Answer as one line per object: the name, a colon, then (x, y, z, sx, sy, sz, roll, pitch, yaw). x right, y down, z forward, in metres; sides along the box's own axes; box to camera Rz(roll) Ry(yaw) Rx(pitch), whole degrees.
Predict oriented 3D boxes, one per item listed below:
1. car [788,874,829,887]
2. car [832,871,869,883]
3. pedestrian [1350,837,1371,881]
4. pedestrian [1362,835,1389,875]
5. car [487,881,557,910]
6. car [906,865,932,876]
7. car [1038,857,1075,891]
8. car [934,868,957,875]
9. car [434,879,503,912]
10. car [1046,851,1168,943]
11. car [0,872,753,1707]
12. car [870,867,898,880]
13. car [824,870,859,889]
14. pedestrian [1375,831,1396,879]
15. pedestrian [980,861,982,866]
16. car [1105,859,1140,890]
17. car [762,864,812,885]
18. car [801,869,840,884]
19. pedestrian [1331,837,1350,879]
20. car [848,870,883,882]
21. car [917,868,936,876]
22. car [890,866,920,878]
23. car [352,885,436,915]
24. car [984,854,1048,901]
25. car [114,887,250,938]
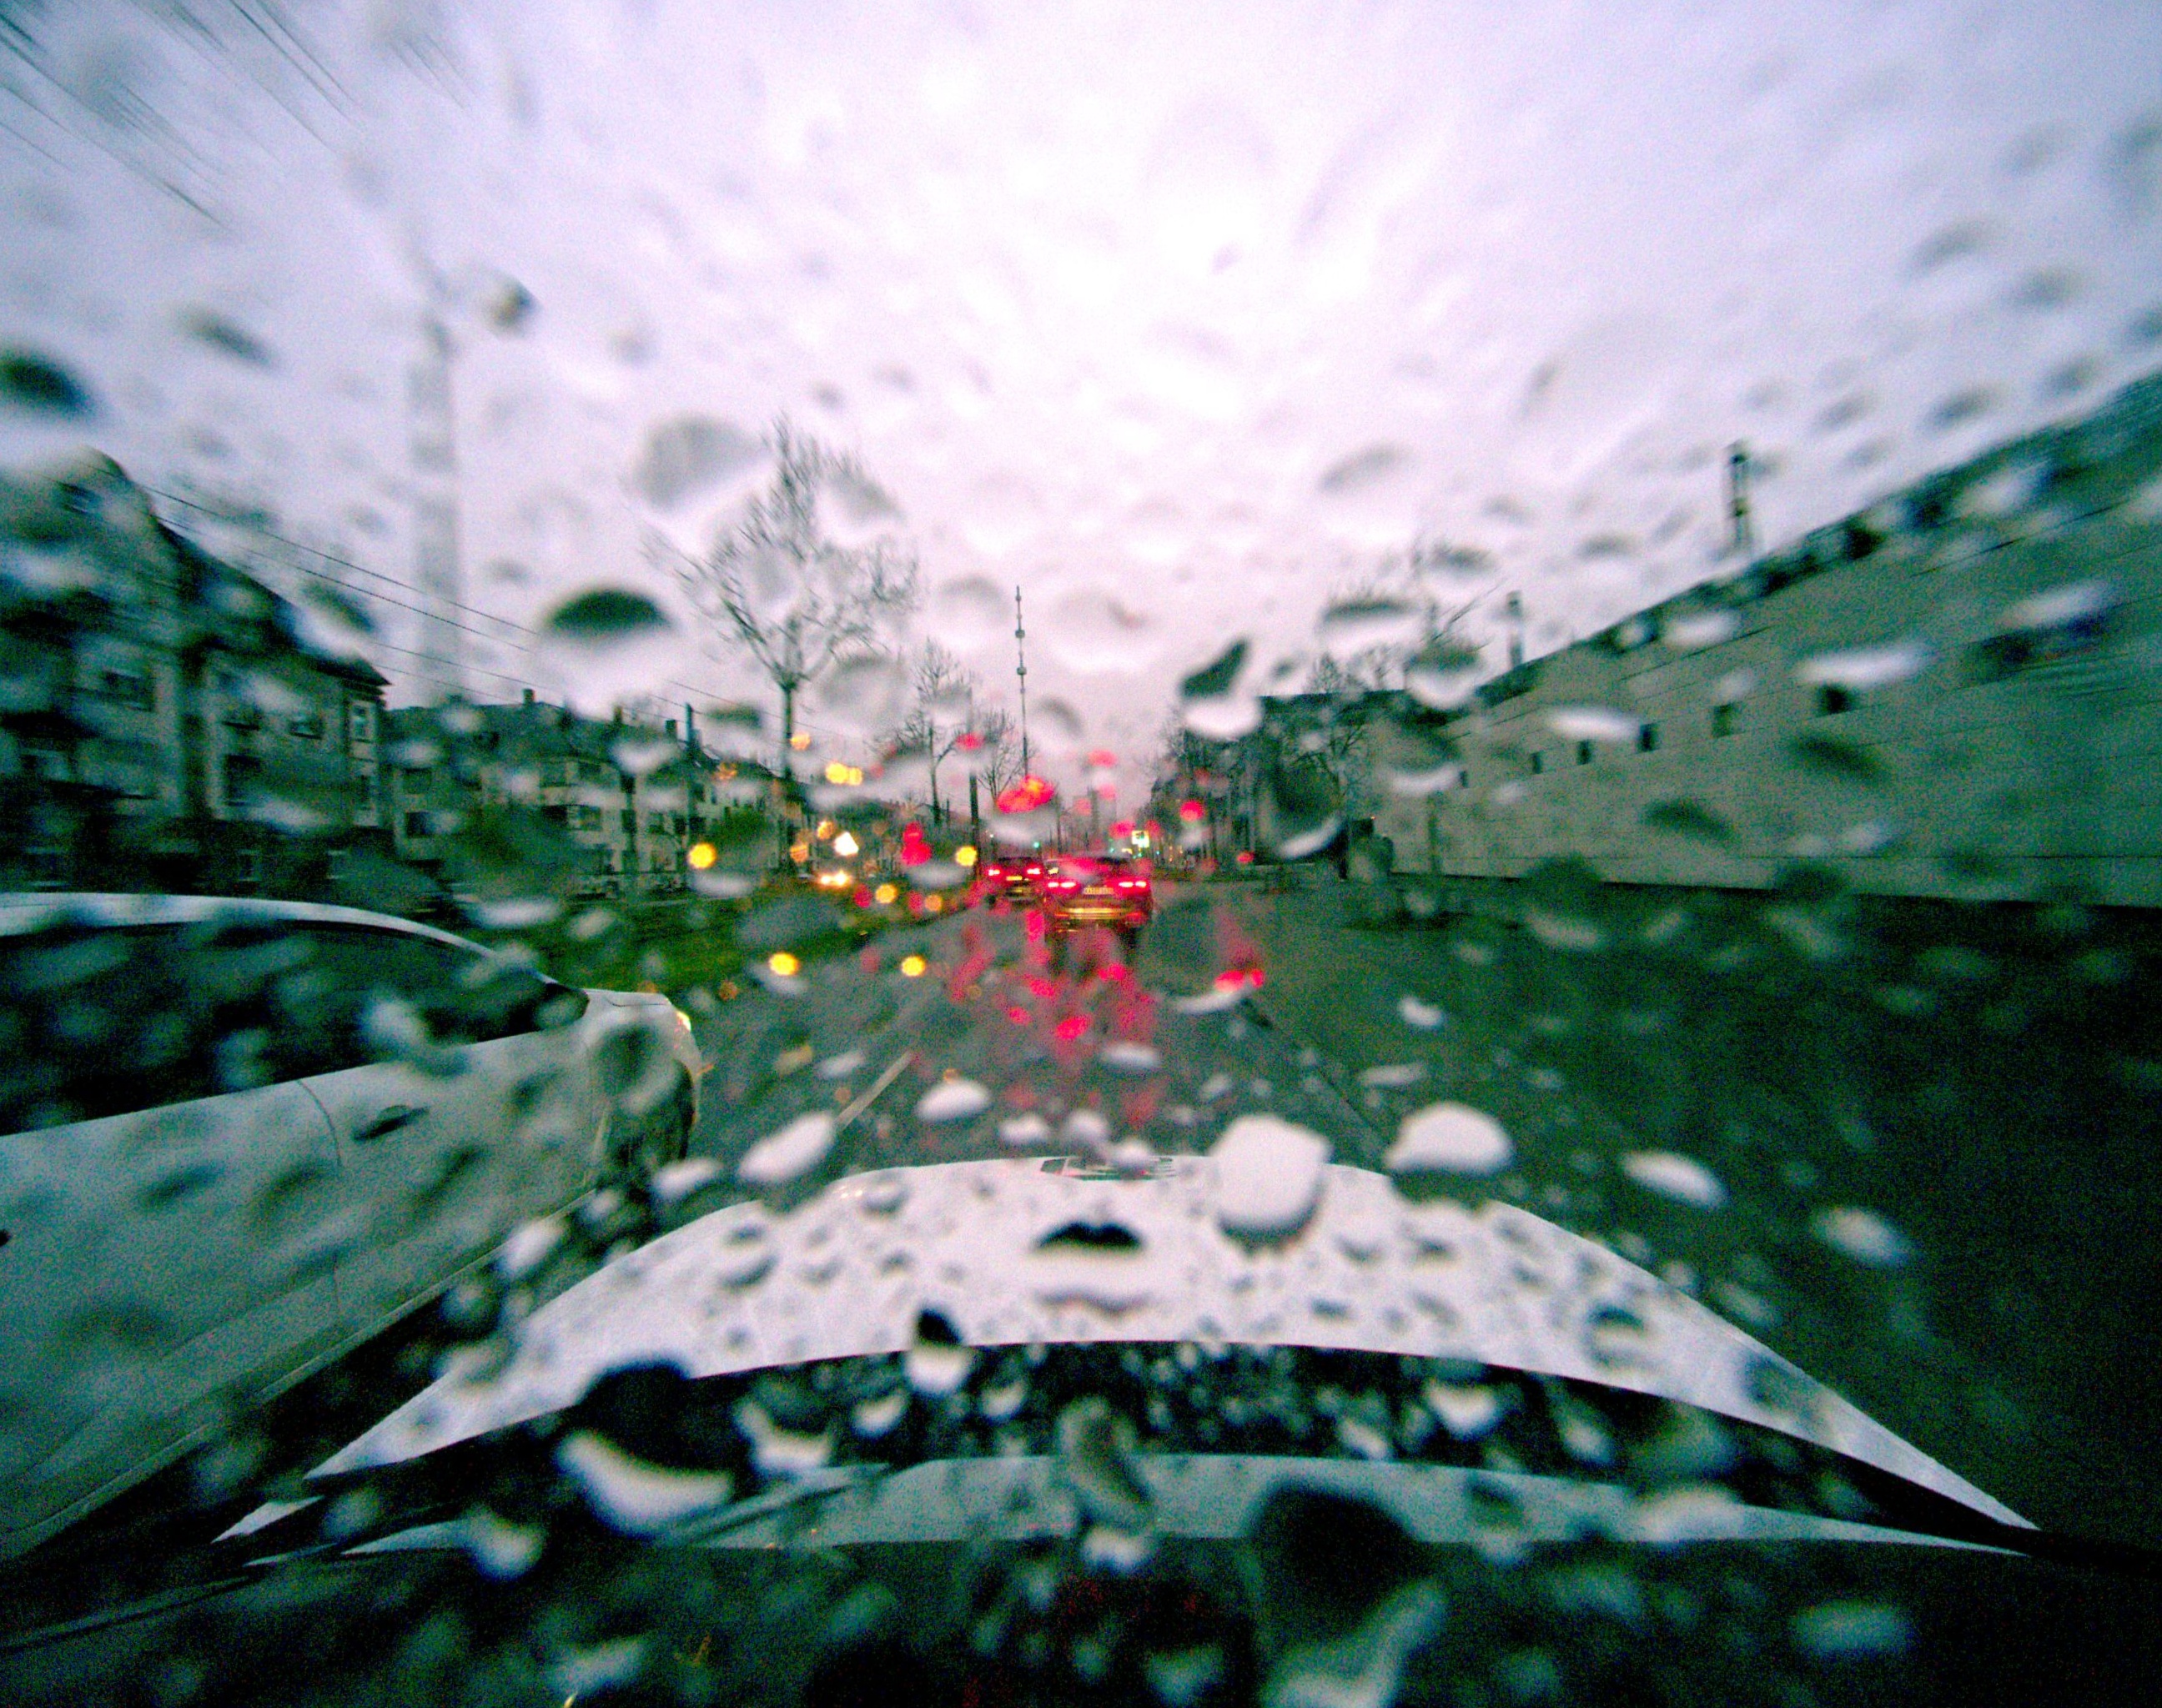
car: (-24.836, 2.373, 74.204, 3.525, 1.141, 1.748, -1, 0, 34)
car: (-24.379, 2.422, 85.961, 3.772, 1.172, 1.749, -1, 0, 34)
pedestrian: (10.468, 0.198, 30.517, 0.667, 1.612, 0.617, -1, -1, 16)
pedestrian: (12.508, 0.046, 34.646, 0.665, 1.655, 0.993, -3, -1, -3)
car: (-26.589, 1.927, 38.693, 4.053, 1.161, 1.722, 1, -1, 41)
car: (-22.975, 2.372, 115.652, 3.801, 1.588, 1.752, -1, -1, 43)
car: (-1.208, 1.015, 42.064, 1.683, 1.635, 3.475, -1, -1, 2)
car: (-23.029, 3.012, 138.049, 3.494, 1.200, 1.894, -1, -1, 33)
car: (-26.570, 1.765, 35.311, 3.993, 1.230, 1.357, 1, -1, 38)
car: (0.487, 0.732, 15.224, 1.986, 1.483, 3.701, -1, -1, 2)
car: (-2.663, 0.827, 2.359, 1.682, 1.474, 4.002, -1, -1, 2)
car: (-24.131, 2.381, 99.595, 3.342, 1.422, 1.680, -1, -1, 40)
car: (-19.657, 2.081, 66.954, 1.539, 1.504, 3.786, -1, -1, 3)
pedestrian: (11.359, 0.052, 30.365, 0.667, 1.778, 0.617, -1, -1, 15)
pedestrian: (-22.465, 2.187, 183.412, 0.348, 1.184, 0.429, 0, -1, -39)
car: (2.290, 1.124, 45.733, 1.848, 1.635, 3.475, -1, -1, 2)
car: (-25.446, 1.781, 70.457, 4.598, 1.723, 1.845, -1, -1, 36)
car: (-24.565, 2.120, 76.834, 3.534, 1.309, 1.697, -1, 0, 34)
pedestrian: (10.198, 0.164, 32.004, 0.667, 1.625, 0.617, -1, -1, 17)
car: (-23.735, 2.418, 89.706, 3.794, 1.245, 1.748, -1, 0, 38)
car: (-23.271, 2.744, 122.543, 2.852, 1.204, 1.397, -1, -1, 43)
car: (-23.597, 2.409, 109.056, 4.109, 1.541, 1.680, -1, -1, 38)
car: (-26.345, 1.719, 31.225, 2.881, 0.989, 1.806, 1, -1, 37)
car: (-2.133, 0.748, 27.656, 1.811, 1.450, 3.999, -1, -1, 0)
car: (-26.934, 1.701, 24.407, 3.321, 1.418, 1.888, -1, -2, 27)
